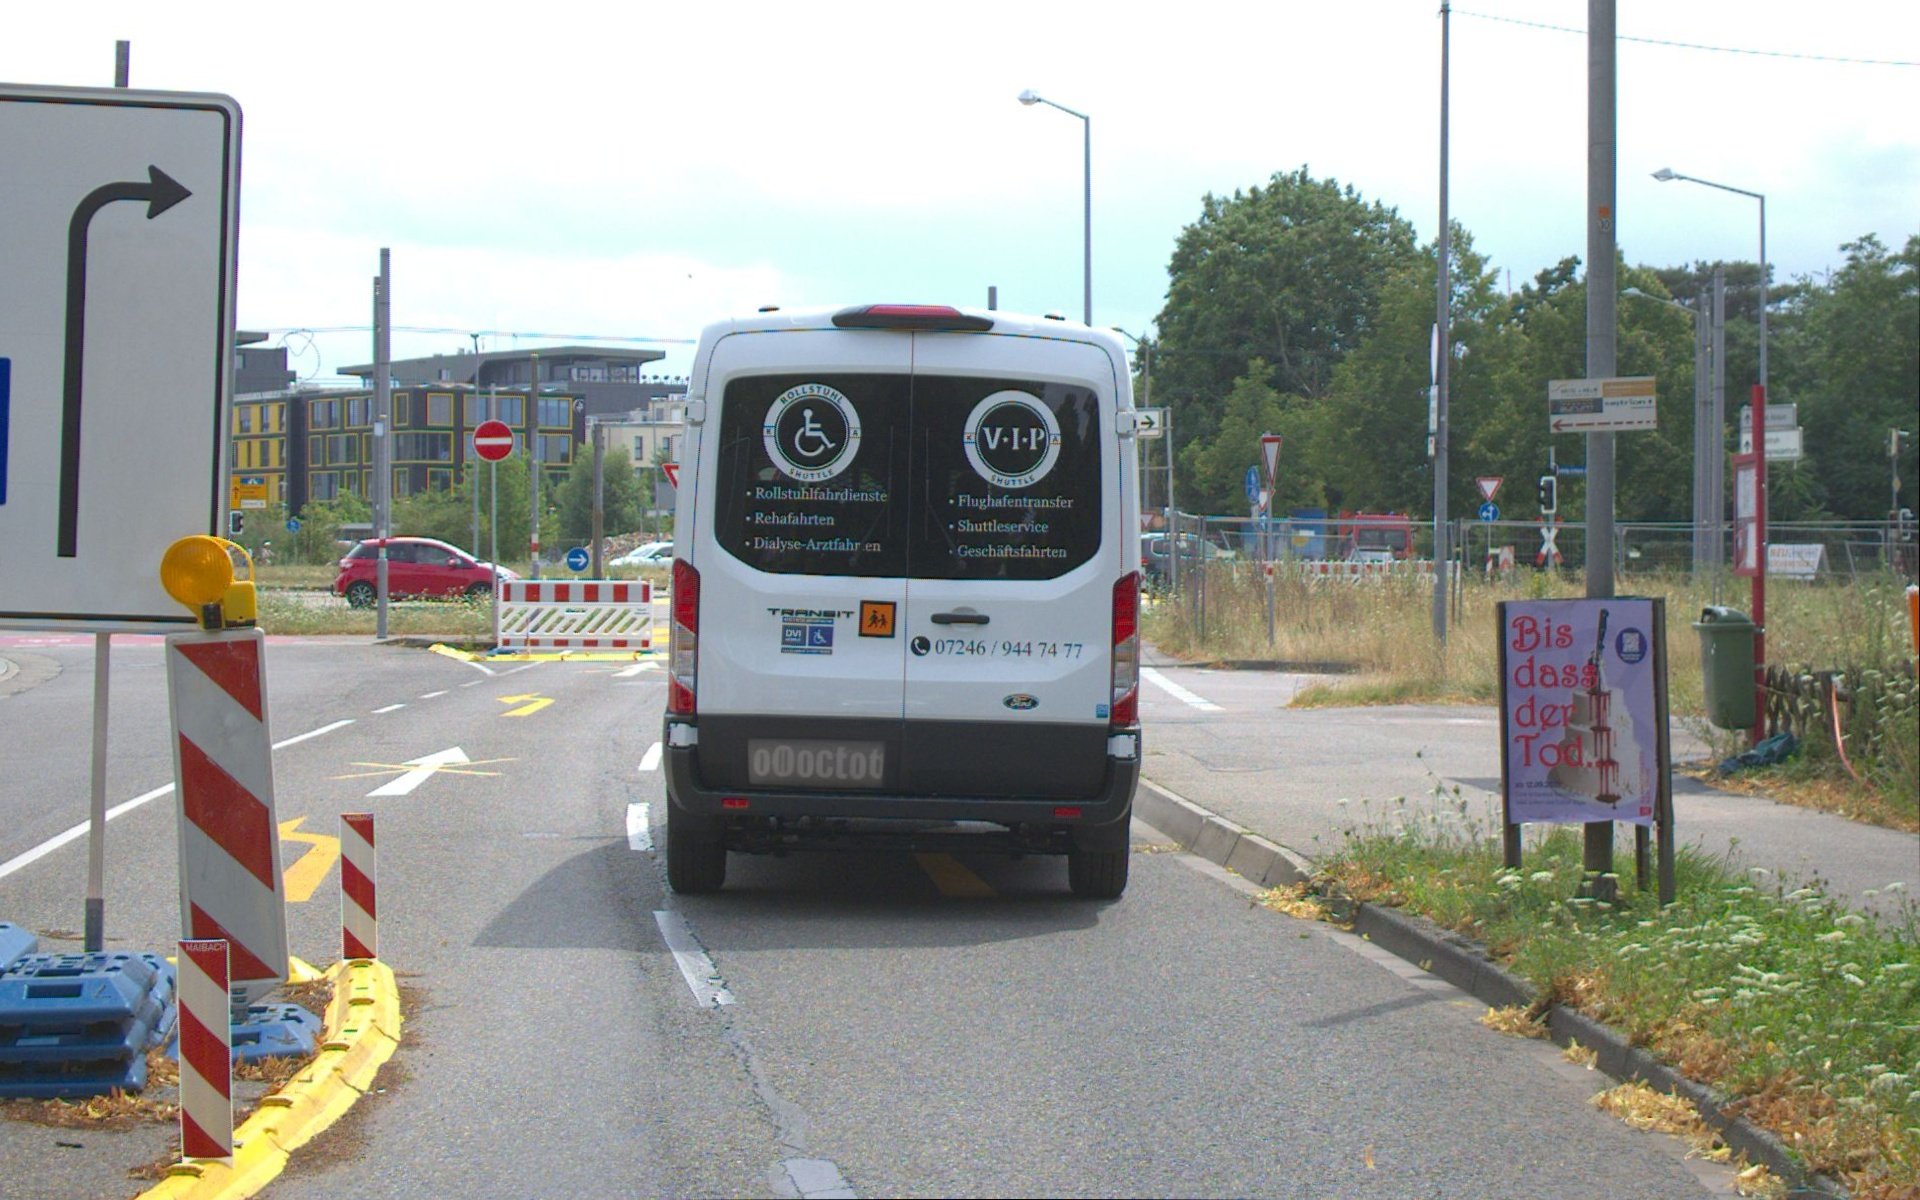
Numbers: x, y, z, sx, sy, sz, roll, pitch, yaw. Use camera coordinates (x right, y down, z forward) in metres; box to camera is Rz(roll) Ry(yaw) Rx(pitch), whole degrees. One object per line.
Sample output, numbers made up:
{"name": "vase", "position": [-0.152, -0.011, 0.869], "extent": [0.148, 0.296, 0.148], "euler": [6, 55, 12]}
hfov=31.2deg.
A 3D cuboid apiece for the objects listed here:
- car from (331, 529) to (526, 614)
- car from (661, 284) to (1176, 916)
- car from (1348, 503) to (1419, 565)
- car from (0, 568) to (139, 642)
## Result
{"name": "car", "position": [-11.309, -0.624, 73.332], "extent": [3.986, 1.656, 1.891], "euler": [-2, 1, -7]}
{"name": "car", "position": [-0.231, -0.017, 15.797], "extent": [2.062, 2.531, 4.000], "euler": [0, 0, -2]}
{"name": "car", "position": [13.160, -2.057, 106.583], "extent": [2.007, 1.810, 4.411], "euler": [-2, 1, 9]}
{"name": "car", "position": [-18.548, 0.114, 67.910], "extent": [4.346, 1.349, 1.620], "euler": [-1, 1, 22]}
